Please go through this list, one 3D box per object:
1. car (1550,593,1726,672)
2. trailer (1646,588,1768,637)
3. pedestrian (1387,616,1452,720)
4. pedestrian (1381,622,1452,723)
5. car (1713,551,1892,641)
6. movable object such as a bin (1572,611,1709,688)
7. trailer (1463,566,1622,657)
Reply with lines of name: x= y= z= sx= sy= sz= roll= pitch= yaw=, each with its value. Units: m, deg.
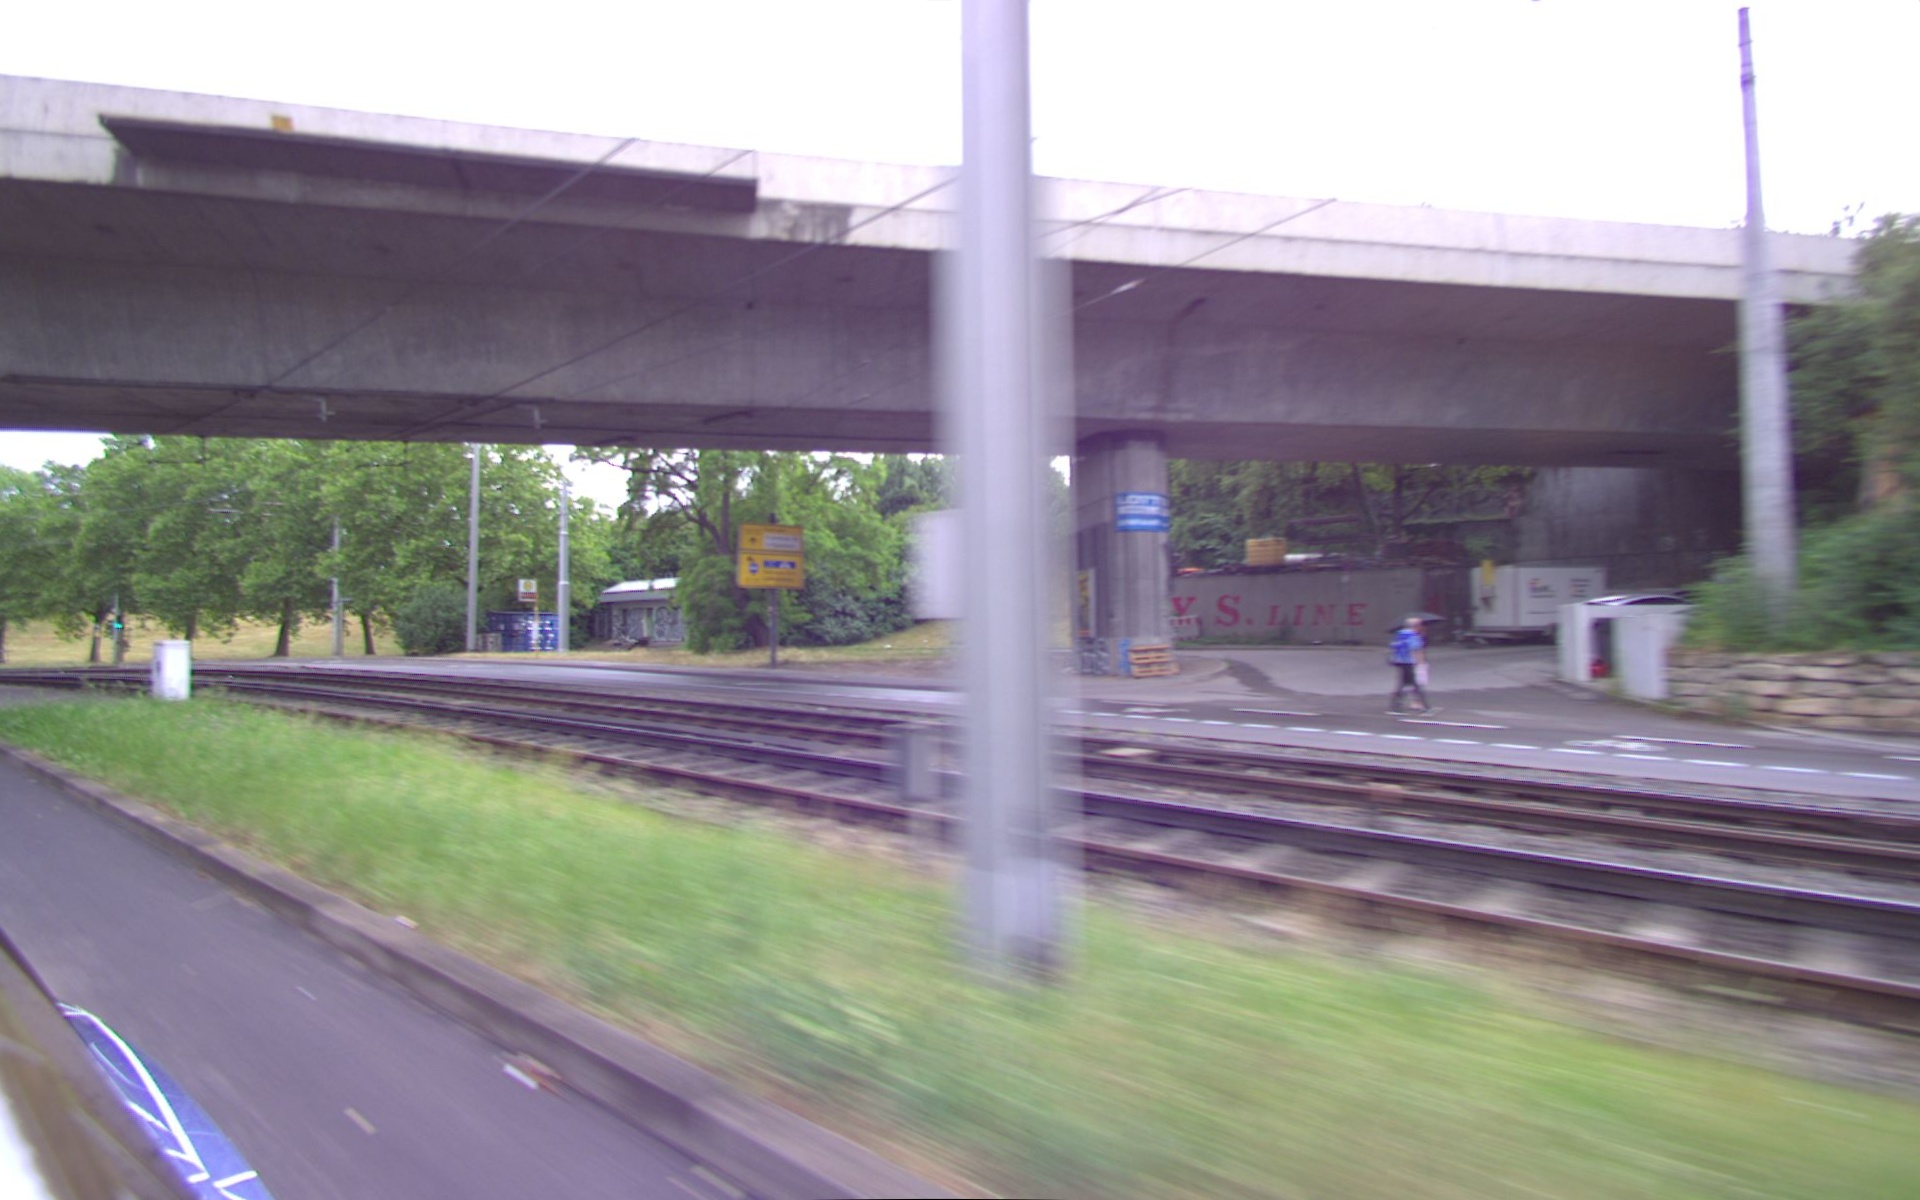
car: x=16.506 y=0.767 z=24.715 sx=3.146 sy=1.680 sz=1.723 roll=-3 pitch=0 yaw=-10
trailer: x=25.795 y=0.430 z=34.932 sx=3.932 sy=1.608 sz=2.006 roll=0 pitch=-2 yaw=-31
pedestrian: x=8.475 y=1.240 z=18.674 sx=0.866 sy=1.845 sz=0.686 roll=-3 pitch=-3 yaw=42
pedestrian: x=7.941 y=1.248 z=17.618 sx=0.888 sy=1.683 sz=0.685 roll=-4 pitch=-3 yaw=45
car: x=21.458 y=-0.093 z=25.847 sx=3.146 sy=2.055 sz=1.801 roll=-3 pitch=0 yaw=-10
movable object such as a bin: x=14.491 y=1.030 z=21.603 sx=1.772 sy=1.490 sz=1.566 roll=-2 pitch=-1 yaw=-13
trailer: x=18.444 y=0.356 z=32.085 sx=4.053 sy=2.746 sz=2.006 roll=-1 pitch=-2 yaw=-15
